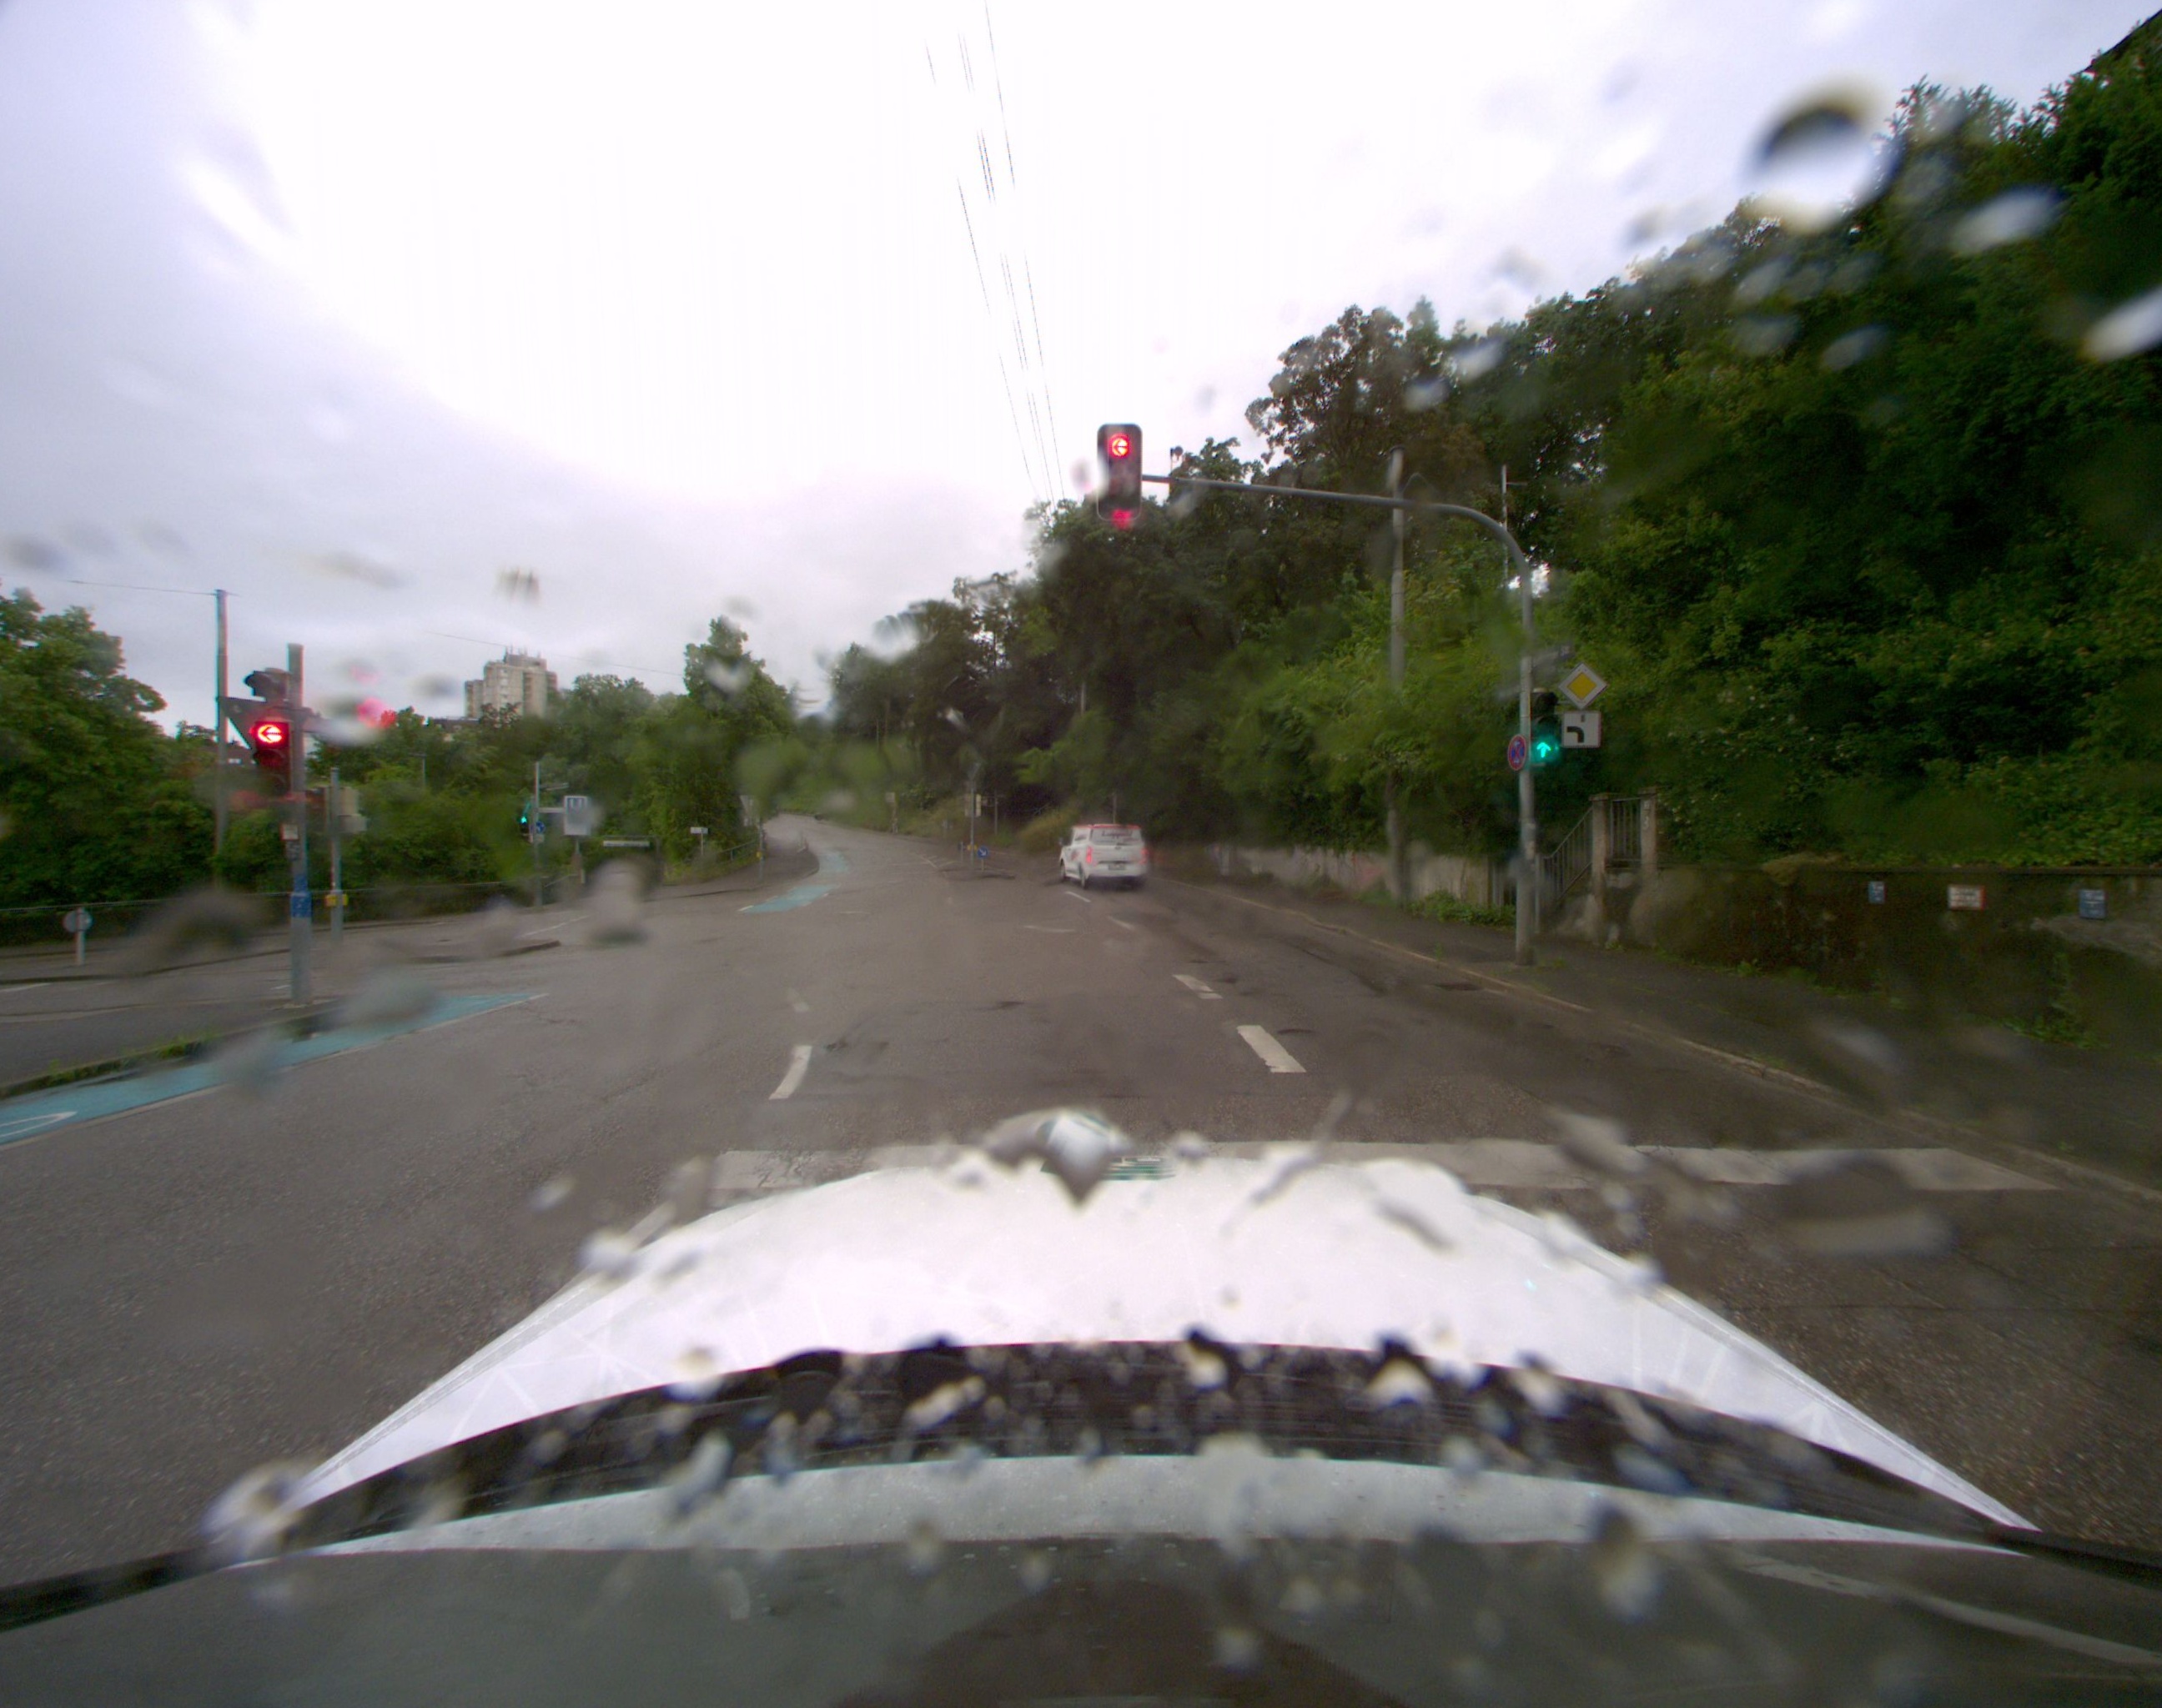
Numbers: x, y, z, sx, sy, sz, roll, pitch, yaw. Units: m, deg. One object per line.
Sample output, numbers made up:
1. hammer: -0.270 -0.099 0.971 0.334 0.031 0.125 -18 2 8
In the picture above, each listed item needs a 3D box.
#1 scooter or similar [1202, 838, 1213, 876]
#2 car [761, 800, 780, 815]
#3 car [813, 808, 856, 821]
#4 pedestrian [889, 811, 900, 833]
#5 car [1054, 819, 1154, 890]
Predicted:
1. scooter or similar: 4.344 0.102 27.959 0.320 1.279 0.753 -1 2 9
2. car: -40.353 -5.993 105.763 1.928 1.780 3.967 0 2 -26
3. car: -28.850 -4.616 95.381 4.358 1.511 1.971 1 2 14
4. pedestrian: -15.296 -2.593 66.826 0.883 1.736 0.861 -1 -1 -16
5. car: 0.595 -0.036 25.633 2.067 2.006 4.795 -1 1 -12
